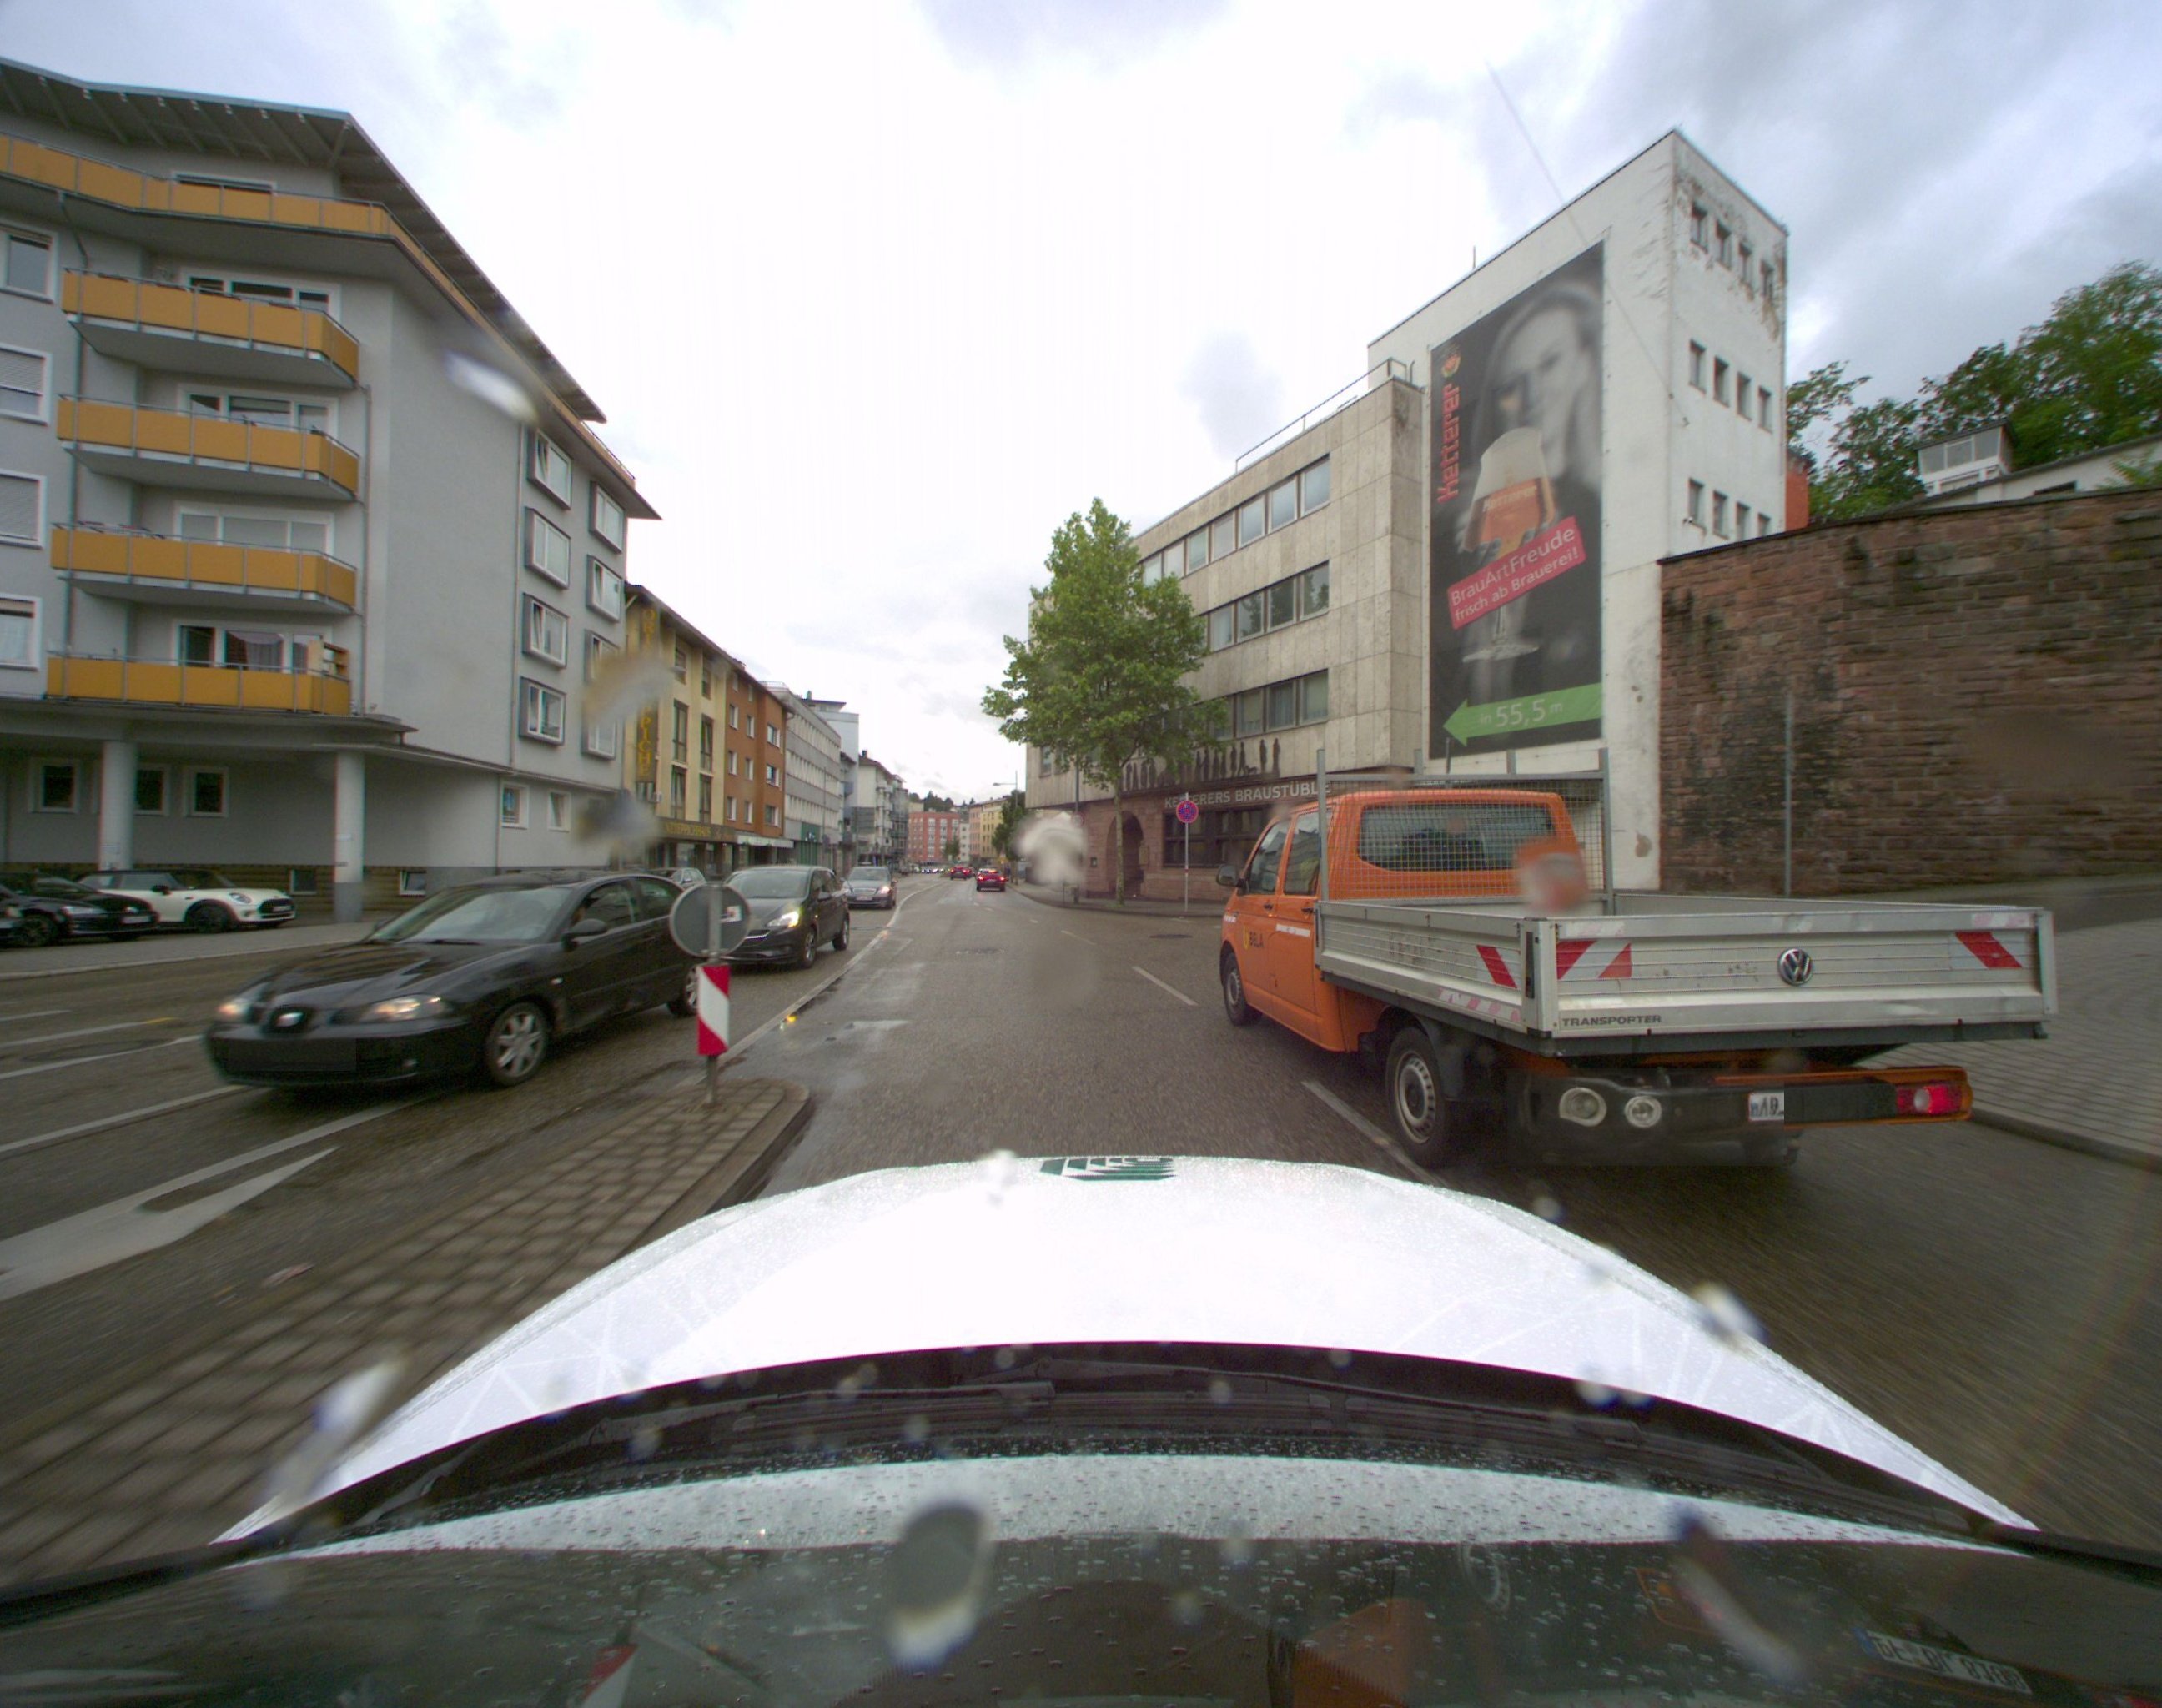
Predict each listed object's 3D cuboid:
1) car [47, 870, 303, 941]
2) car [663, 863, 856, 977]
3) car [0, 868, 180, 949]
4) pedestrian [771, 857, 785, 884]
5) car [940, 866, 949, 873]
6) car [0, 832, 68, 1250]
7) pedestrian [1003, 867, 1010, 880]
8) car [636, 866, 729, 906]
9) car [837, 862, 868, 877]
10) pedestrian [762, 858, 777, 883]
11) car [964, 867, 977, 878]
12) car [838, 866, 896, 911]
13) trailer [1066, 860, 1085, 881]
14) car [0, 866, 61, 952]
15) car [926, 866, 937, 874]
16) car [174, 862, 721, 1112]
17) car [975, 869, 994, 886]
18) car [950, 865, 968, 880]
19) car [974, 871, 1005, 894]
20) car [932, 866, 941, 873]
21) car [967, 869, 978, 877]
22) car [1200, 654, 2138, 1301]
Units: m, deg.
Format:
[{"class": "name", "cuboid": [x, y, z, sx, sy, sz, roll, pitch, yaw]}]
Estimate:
[{"class": "car", "cuboid": [-19.997, 1.091, 18.115, 3.622, 1.338, 1.491, -2, -1, -10]}, {"class": "car", "cuboid": [-4.673, 0.870, 12.472, 1.641, 1.453, 3.982, 1, -1, -5]}, {"class": "car", "cuboid": [-20.246, 1.056, 15.634, 3.753, 1.421, 1.634, -2, -1, -7]}, {"class": "pedestrian", "cuboid": [-20.959, 1.160, 56.400, 0.574, 1.789, 0.824, 5, -2, -7]}, {"class": "car", "cuboid": [-28.034, 3.169, 167.501, 1.719, 1.423, 4.155, -2, -1, -7]}, {"class": "car", "cuboid": [-5.035, 0.736, 1.231, 1.750, 1.614, 4.209, 0, 0, -1]}, {"class": "pedestrian", "cuboid": [-10.740, 2.824, 117.266, 0.787, 1.755, 0.873, -1, -1, 6]}, {"class": "car", "cuboid": [-14.602, 1.167, 30.069, 1.726, 1.366, 4.101, 0, -2, -6]}, {"class": "car", "cuboid": [-31.470, 2.156, 112.241, 3.958, 2.034, 1.577, 1, -1, -6]}, {"class": "pedestrian", "cuboid": [-21.581, 1.136, 56.404, 0.629, 1.675, 0.906, 5, -2, -8]}, {"class": "car", "cuboid": [-14.860, 2.474, 109.243, 1.640, 1.381, 3.338, 0, -1, -8]}, {"class": "car", "cuboid": [-7.325, 1.139, 28.181, 1.734, 1.440, 4.394, 0, -1, -12]}, {"class": "trailer", "cuboid": [-0.781, 2.168, 109.422, 2.123, 2.716, 5.381, -2, 0, -5]}, {"class": "car", "cuboid": [-19.827, 0.974, 13.250, 3.809, 1.421, 1.793, -2, -2, -7]}, {"class": "car", "cuboid": [-30.593, 3.239, 166.938, 1.706, 1.468, 4.818, -2, -1, -6]}, {"class": "car", "cuboid": [-4.556, 0.800, 6.671, 1.551, 1.398, 3.727, -1, 0, 0]}, {"class": "car", "cuboid": [-9.103, 2.171, 76.828, 1.662, 1.396, 3.859, -1, 0, -6]}, {"class": "car", "cuboid": [-14.293, 2.186, 95.586, 1.821, 1.600, 3.710, 3, -1, -6]}, {"class": "car", "cuboid": [-6.201, 1.872, 54.831, 1.789, 1.403, 4.617, -1, -1, -10]}, {"class": "car", "cuboid": [-33.434, 3.588, 188.146, 1.723, 1.423, 4.144, -1, -1, -15]}, {"class": "car", "cuboid": [-17.440, 3.059, 131.126, 1.640, 1.381, 3.338, 0, -1, -8]}, {"class": "car", "cuboid": [2.411, 0.410, 5.497, 2.097, 2.089, 5.535, -2, -1, -3]}]
